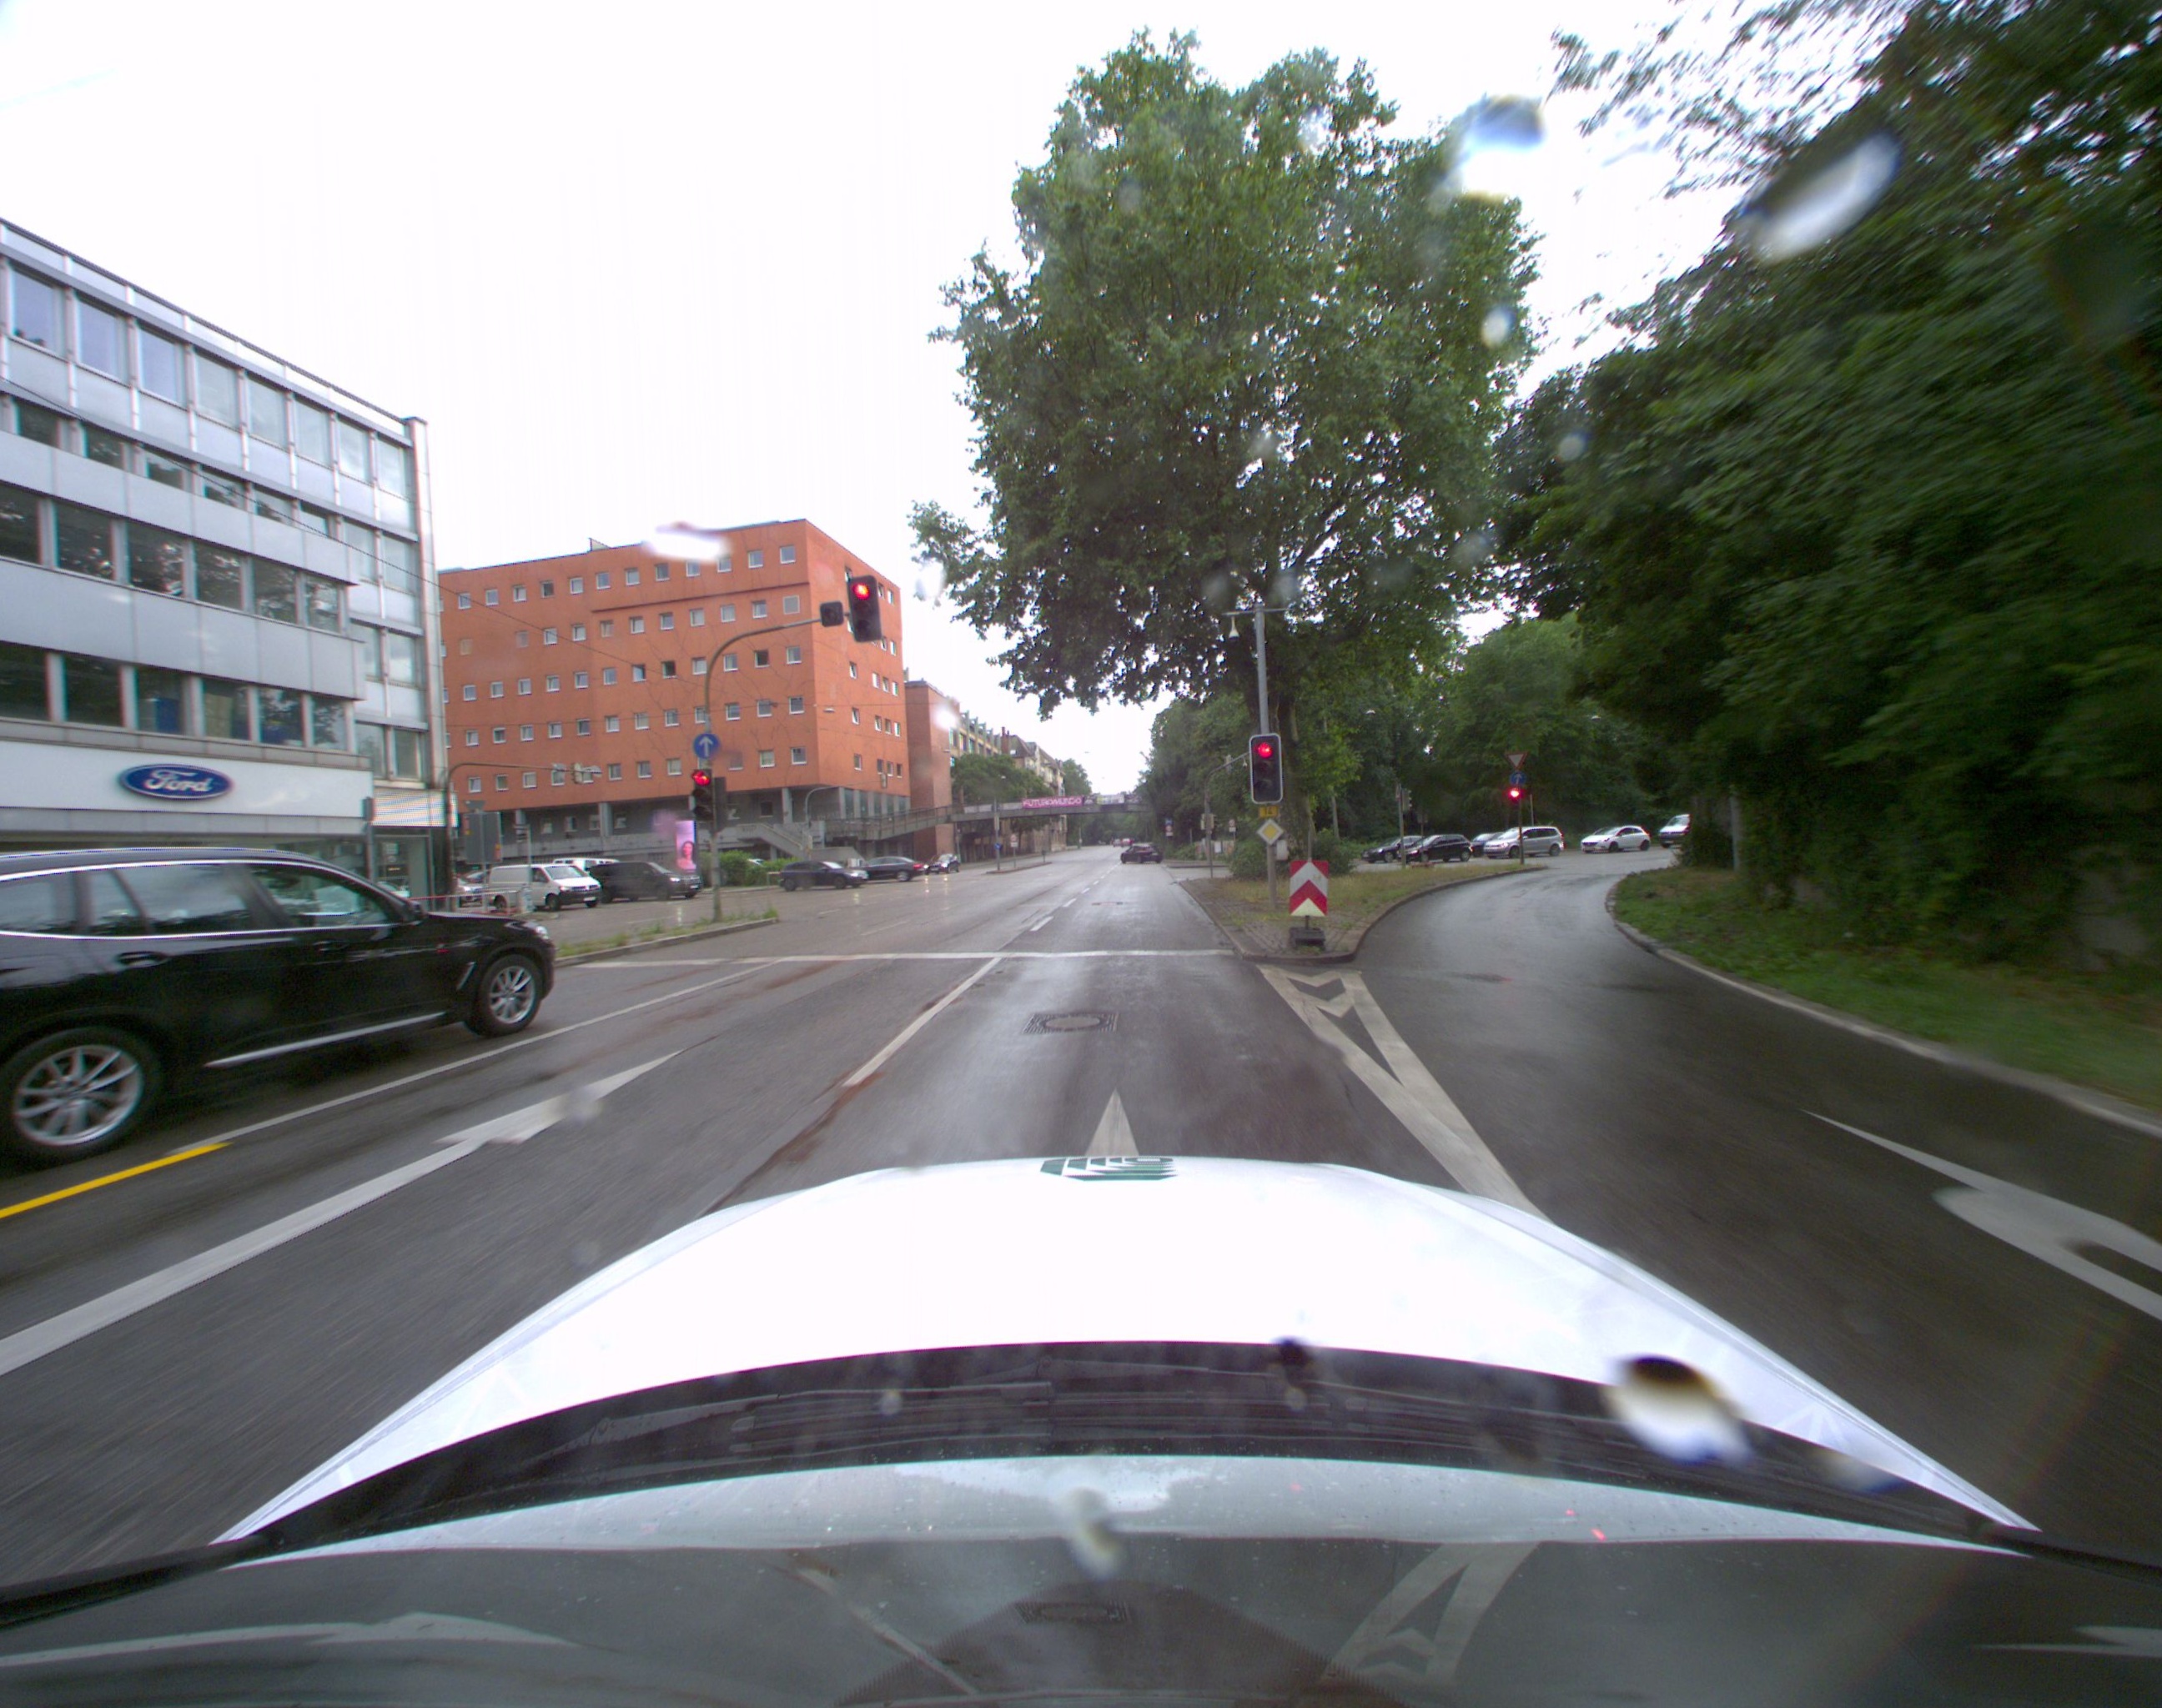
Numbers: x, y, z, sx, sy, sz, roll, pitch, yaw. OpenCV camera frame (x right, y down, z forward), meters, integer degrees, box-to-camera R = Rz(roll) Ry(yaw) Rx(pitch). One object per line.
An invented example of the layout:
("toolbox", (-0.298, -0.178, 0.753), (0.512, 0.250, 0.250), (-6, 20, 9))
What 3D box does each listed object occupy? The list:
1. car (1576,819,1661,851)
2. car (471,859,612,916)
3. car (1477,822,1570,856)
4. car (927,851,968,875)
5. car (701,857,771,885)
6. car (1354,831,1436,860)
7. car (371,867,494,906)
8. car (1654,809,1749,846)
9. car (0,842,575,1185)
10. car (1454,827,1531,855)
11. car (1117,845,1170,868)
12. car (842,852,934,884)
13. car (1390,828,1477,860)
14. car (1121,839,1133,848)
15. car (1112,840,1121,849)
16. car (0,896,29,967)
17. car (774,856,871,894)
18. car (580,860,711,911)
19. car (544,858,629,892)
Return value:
("car", (30.166, -1.067, 45.726), (3.997, 1.486, 1.764), (-5, 0, -17))
("car", (-22.572, 1.392, 34.084), (5.154, 1.932, 2.010), (-5, 0, 18))
("car", (23.798, -0.804, 43.848), (4.265, 1.486, 1.766), (-5, 0, -14))
("car", (-9.450, 0.602, 57.905), (1.985, 1.519, 4.004), (-3, 0, 3))
("car", (-24.012, 1.171, 56.729), (3.987, 1.618, 1.901), (-5, 0, 12))
("car", (17.657, -0.481, 45.893), (3.997, 1.486, 1.868), (-2, 0, -17))
("car", (-31.392, 1.547, 39.500), (4.491, 1.637, 1.883), (-2, 1, 3))
("car", (36.057, -1.536, 47.331), (4.856, 1.922, 1.898), (-3, 0, -17))
("car", (-6.017, 0.764, 5.504), (1.938, 1.597, 4.677), (-1, 1, 5))
("car", (23.796, -0.750, 47.128), (3.832, 1.486, 1.735), (-3, 0, -17))
("car", (4.704, 0.189, 62.156), (1.886, 1.637, 4.483), (-2, 1, -29))
("car", (-10.462, 0.733, 44.391), (4.595, 1.451, 1.771), (-3, 0, -5))
("car", (18.150, -0.508, 41.999), (3.857, 1.485, 1.665), (-2, 0, -12))
("car", (9.117, -2.065, 162.048), (2.113, 1.734, 4.199), (-1, 1, 1))
("car", (7.899, -2.085, 180.784), (1.756, 1.696, 3.708), (-5, 0, 3))
("car", (-29.448, 2.141, 19.730), (4.753, 1.738, 1.995), (-5, 0, -7))
("car", (-12.389, 1.014, 39.115), (4.107, 1.446, 1.591), (-5, 0, 12))
("car", (-19.977, 1.434, 37.413), (5.042, 1.845, 2.006), (-5, -1, 11))
("car", (-31.590, 1.302, 52.240), (1.982, 2.013, 4.863), (1, 0, 8))
